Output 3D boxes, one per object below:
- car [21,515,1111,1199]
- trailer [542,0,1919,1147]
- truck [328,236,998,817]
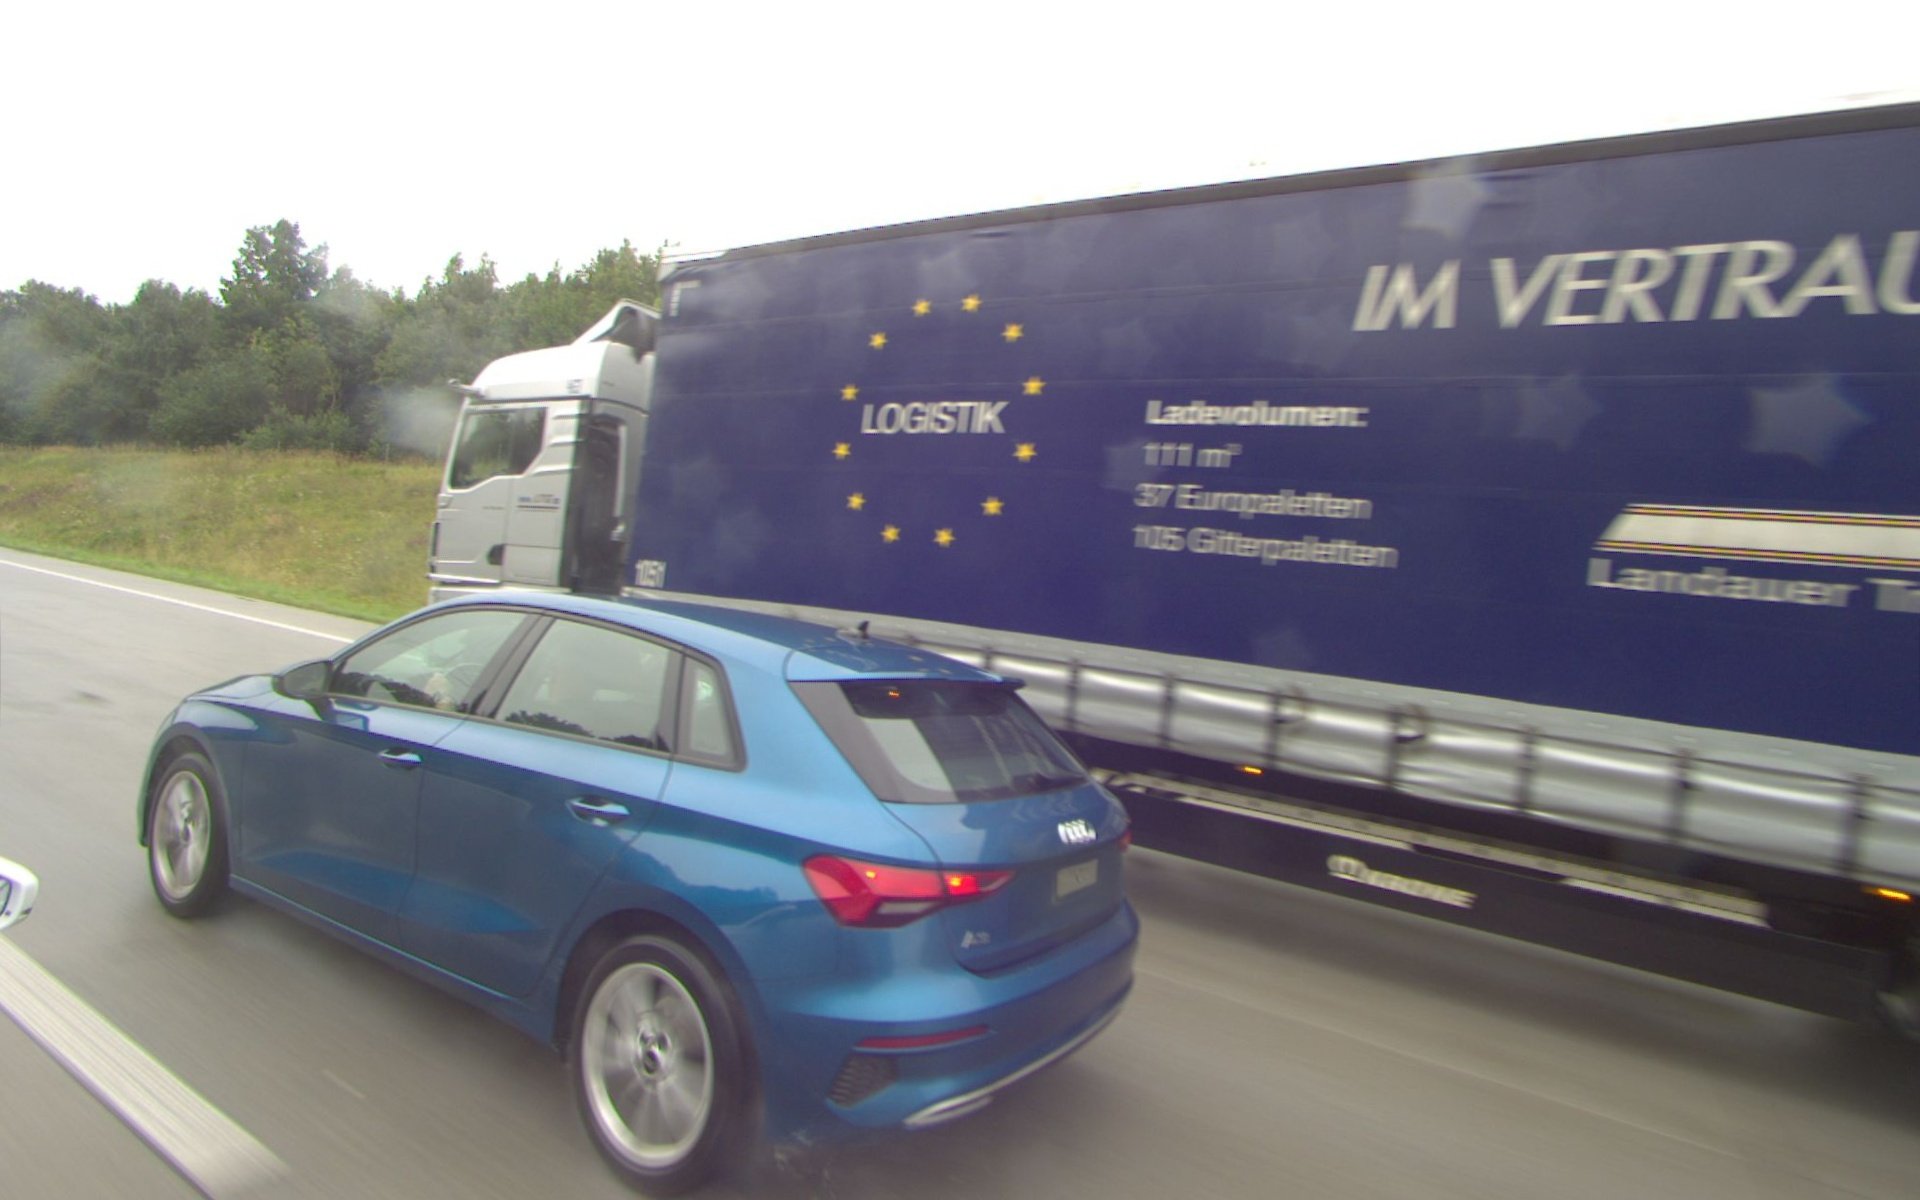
[{"bbox_3d":[-1.903,0.604,4.197,4.595,1.476,1.731,6,-1,32],"label":"car"},{"bbox_3d":[4.007,-0.108,5.181,14.951,4.430,2.712,7,-1,32],"label":"trailer"},{"bbox_3d":[-2.932,-0.649,9.505,5.593,4.000,2.641,7,-1,33],"label":"truck"}]
